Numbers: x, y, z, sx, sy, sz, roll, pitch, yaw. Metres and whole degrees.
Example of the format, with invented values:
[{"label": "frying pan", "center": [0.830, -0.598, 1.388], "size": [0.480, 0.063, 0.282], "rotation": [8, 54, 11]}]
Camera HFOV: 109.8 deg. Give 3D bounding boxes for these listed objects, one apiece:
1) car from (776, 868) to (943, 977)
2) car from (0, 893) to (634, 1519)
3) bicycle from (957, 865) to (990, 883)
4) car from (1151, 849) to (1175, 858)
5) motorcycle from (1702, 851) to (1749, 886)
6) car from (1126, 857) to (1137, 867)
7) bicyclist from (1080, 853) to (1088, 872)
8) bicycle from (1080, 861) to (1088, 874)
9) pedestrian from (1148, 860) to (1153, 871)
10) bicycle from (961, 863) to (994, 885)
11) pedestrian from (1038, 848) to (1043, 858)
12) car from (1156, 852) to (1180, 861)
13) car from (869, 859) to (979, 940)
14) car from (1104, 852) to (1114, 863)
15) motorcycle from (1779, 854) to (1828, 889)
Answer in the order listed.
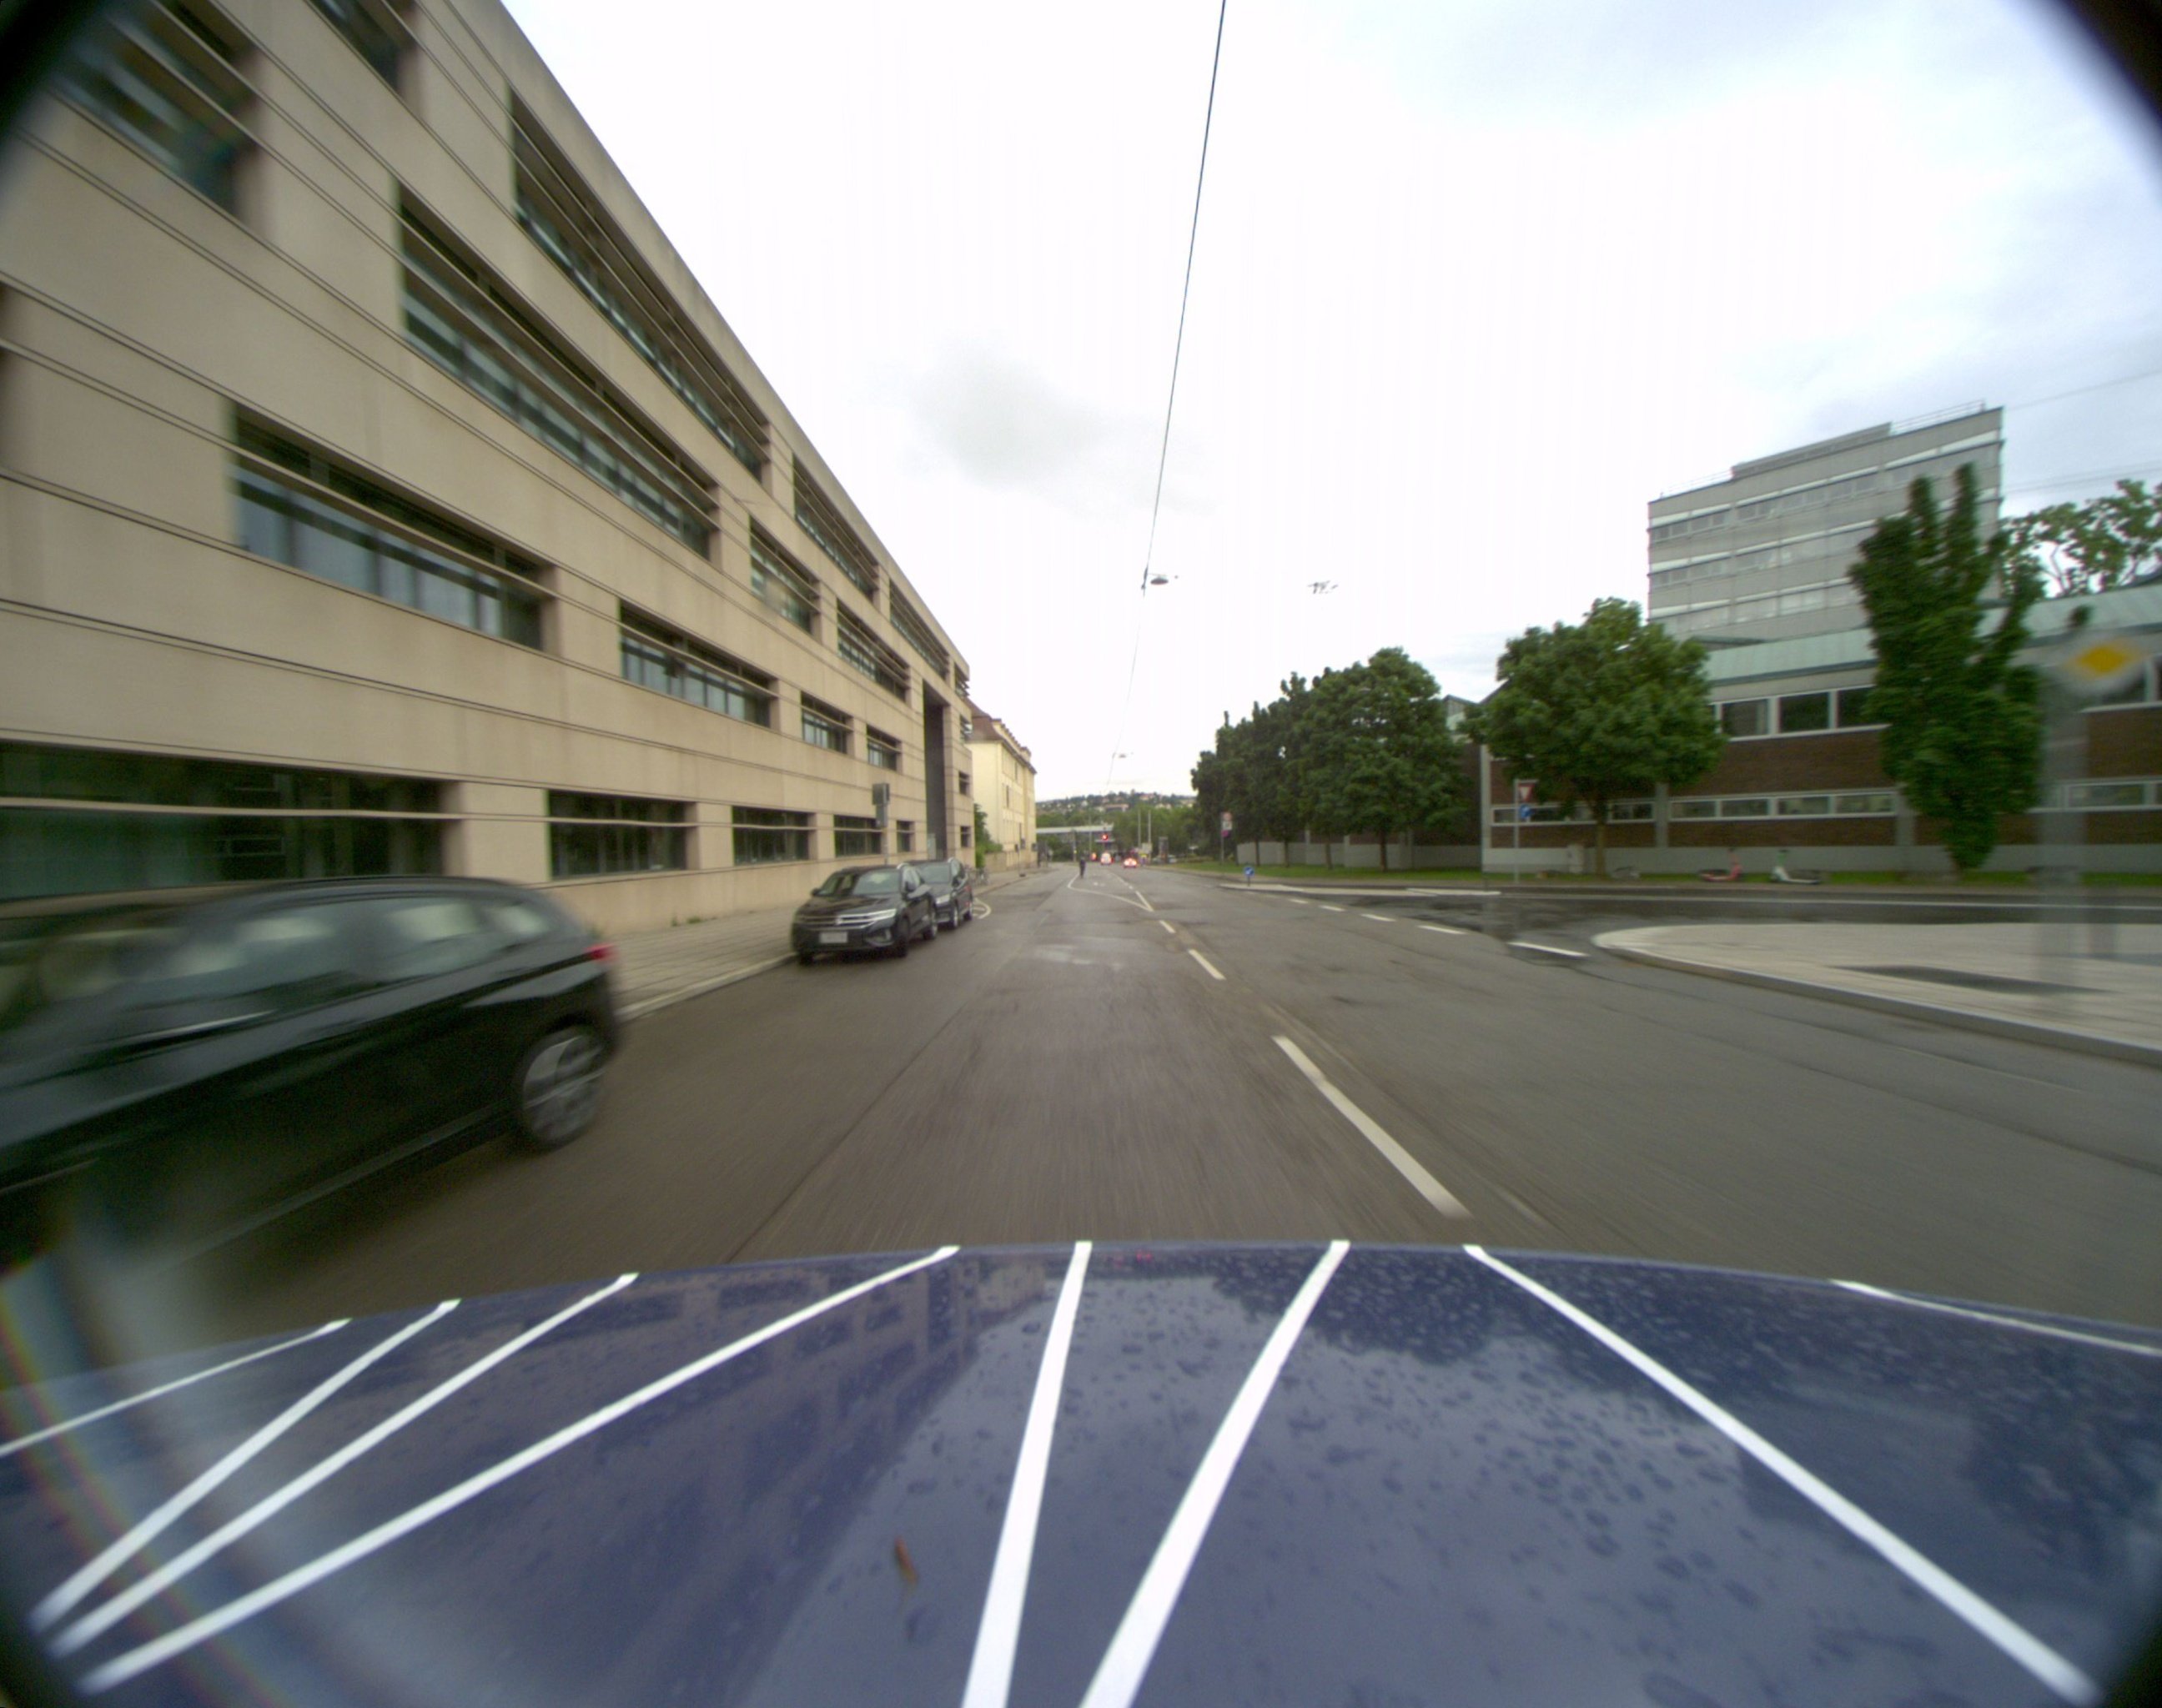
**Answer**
[{"label": "car", "center": [-3.762, 1.096, 13.693], "size": [1.729, 1.503, 4.057], "rotation": [-3, 0, 0]}, {"label": "car", "center": [-3.865, 1.085, 2.867], "size": [1.747, 1.524, 4.318], "rotation": [-3, 1, -1]}, {"label": "bicycle", "center": [-6.024, 1.122, 42.767], "size": [1.763, 0.947, 0.659], "rotation": [-2, 1, -2]}, {"label": "car", "center": [17.186, -0.072, 159.765], "size": [4.710, 1.745, 2.020], "rotation": [-2, 1, 42]}, {"label": "motorcycle", "center": [22.750, 0.525, 26.854], "size": [1.224, 1.178, 0.414], "rotation": [-2, 2, 38]}, {"label": "car", "center": [8.450, 1.335, 127.034], "size": [1.886, 1.482, 5.221], "rotation": [0, 0, 3]}, {"label": "bicyclist", "center": [0.217, 0.616, 58.427], "size": [0.485, 1.425, 0.930], "rotation": [-3, 1, 3]}, {"label": "bicycle", "center": [0.227, 1.024, 58.484], "size": [0.448, 0.957, 1.690], "rotation": [-2, 0, 3]}, {"label": "pedestrian", "center": [10.675, 1.758, 116.178], "size": [0.671, 1.677, 0.914], "rotation": [-2, 1, 8]}, {"label": "bicycle", "center": [-5.684, 1.078, 41.782], "size": [1.734, 1.112, 0.659], "rotation": [-2, 1, -4]}, {"label": "pedestrian", "center": [-6.943, -0.150, 130.319], "size": [0.671, 1.787, 0.852], "rotation": [-1, 1, 2]}, {"label": "car", "center": [16.316, 0.458, 142.944], "size": [1.871, 1.600, 4.515], "rotation": [-3, 1, -33]}, {"label": "car", "center": [-3.713, 1.015, 18.784], "size": [1.775, 1.594, 4.393], "rotation": [-3, 1, -1]}, {"label": "car", "center": [6.315, 0.772, 173.265], "size": [1.988, 2.514, 5.631], "rotation": [-1, 0, -1]}, {"label": "motorcycle", "center": [24.192, 0.573, 25.457], "size": [1.167, 1.119, 0.414], "rotation": [0, 3, 38]}]
